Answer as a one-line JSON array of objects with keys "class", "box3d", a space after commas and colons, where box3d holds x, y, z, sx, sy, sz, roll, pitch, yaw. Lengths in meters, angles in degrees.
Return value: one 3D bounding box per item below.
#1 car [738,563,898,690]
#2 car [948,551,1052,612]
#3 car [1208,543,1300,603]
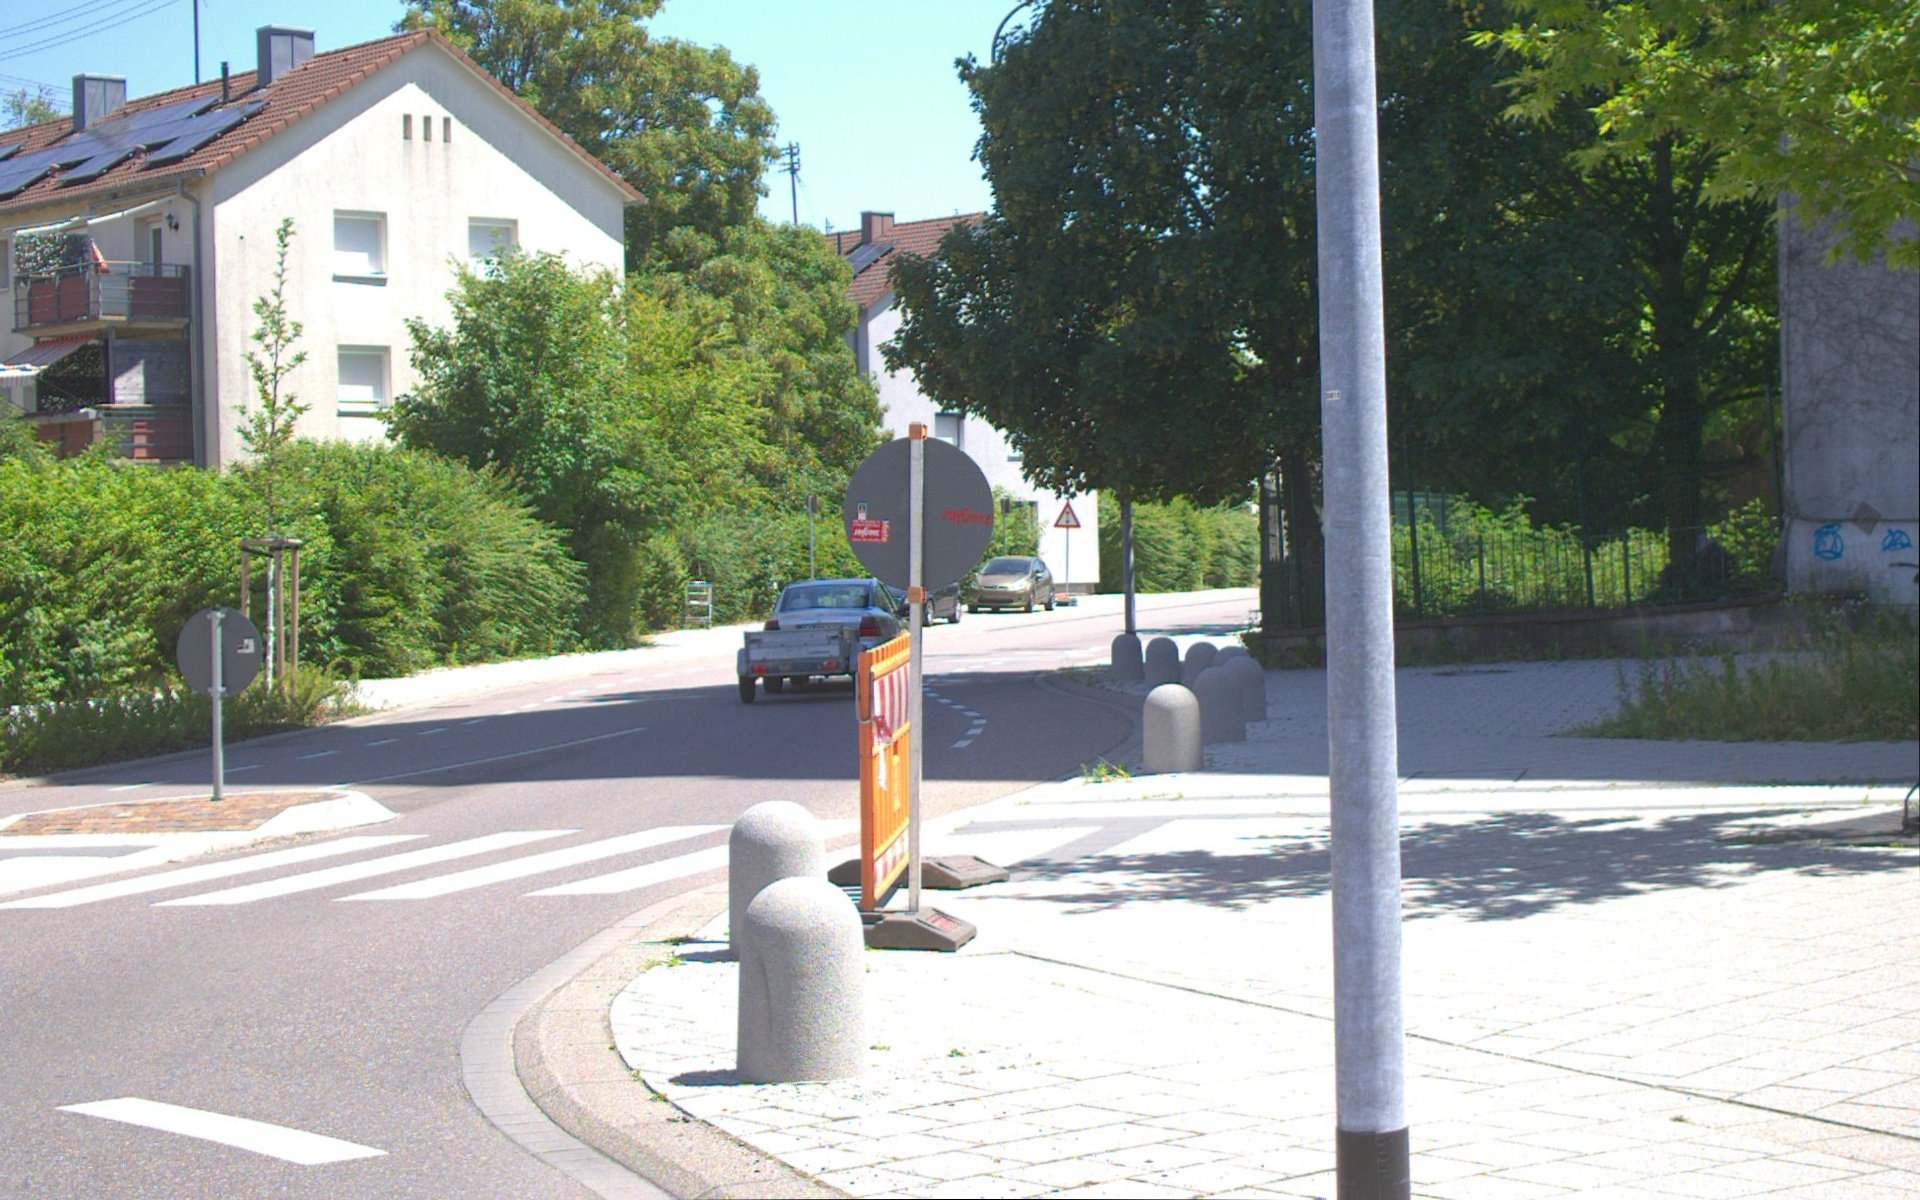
[{"class": "car", "box3d": [-1.772, 0.306, 43.975, 1.739, 1.431, 3.711, -3, 1, 1]}, {"class": "car", "box3d": [1.074, -0.492, 90.101, 1.740, 1.431, 3.708, -3, 1, 16]}, {"class": "car", "box3d": [7.876, -0.742, 91.728, 1.740, 1.431, 3.708, -3, 1, 15]}]
